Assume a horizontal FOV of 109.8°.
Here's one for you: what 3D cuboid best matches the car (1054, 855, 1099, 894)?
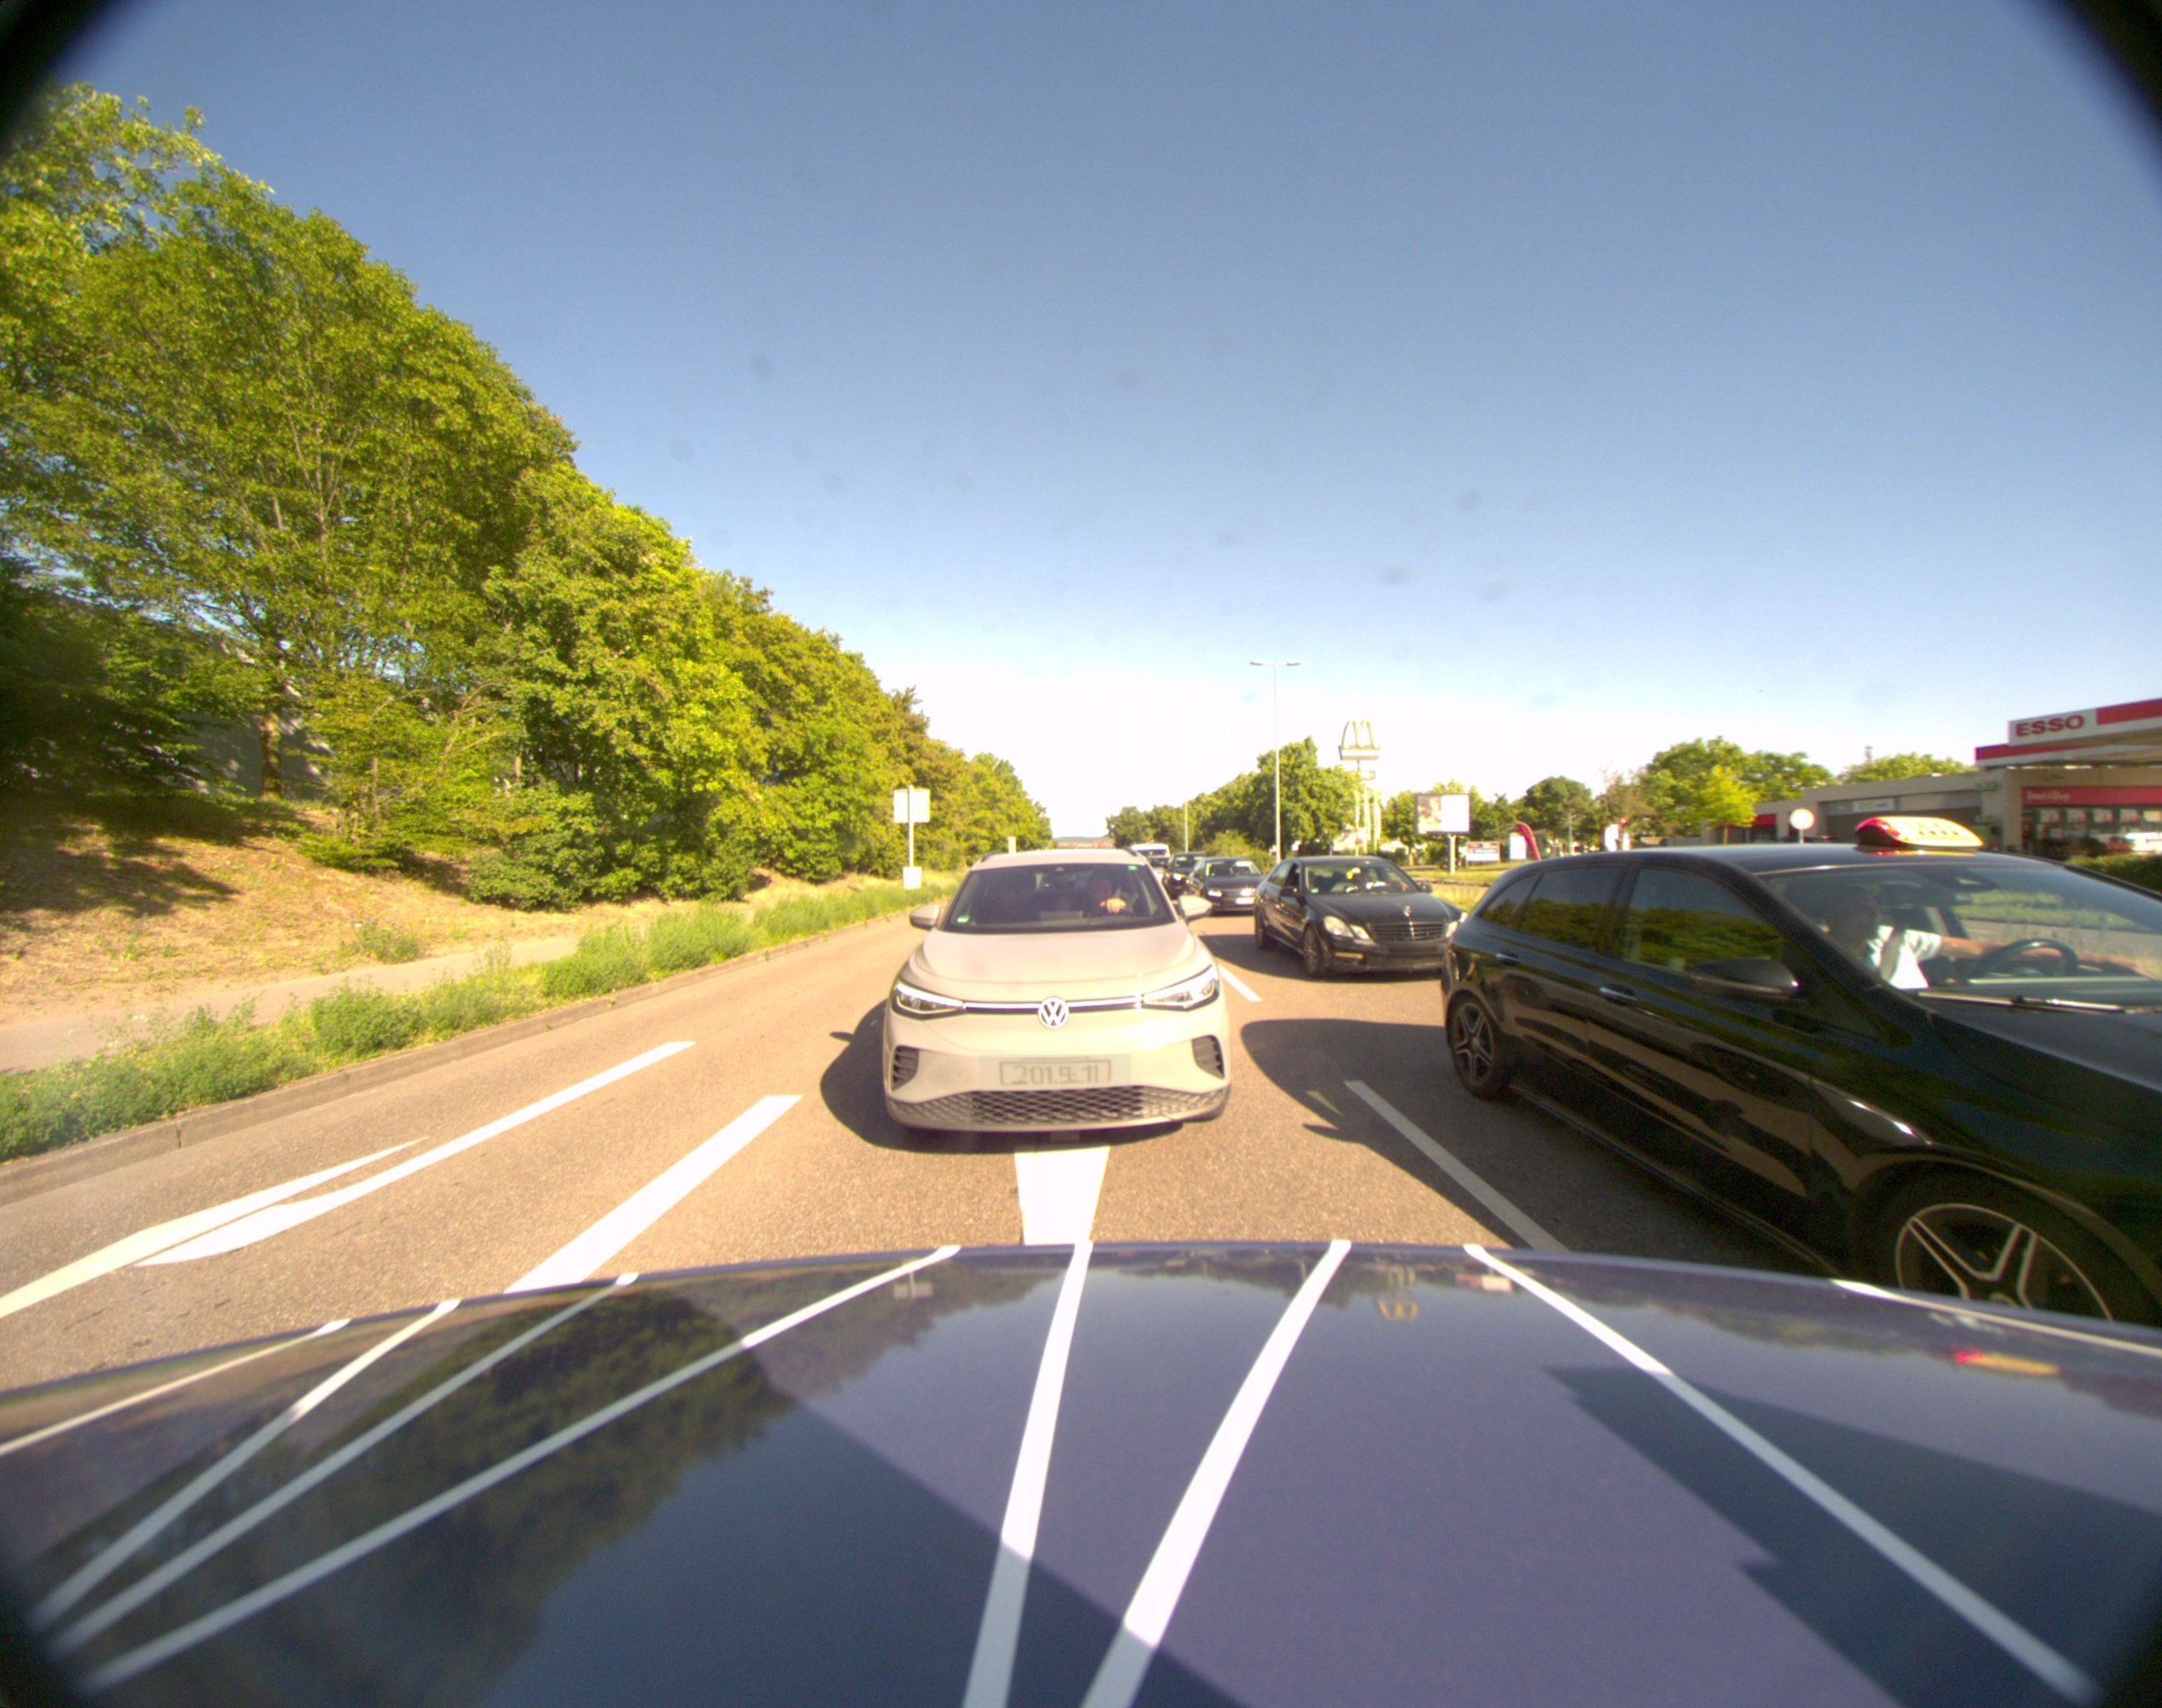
[{"bbox_3d":[-0.188,0.838,33.030,1.763,1.482,4.402,-2,1,0],"label":"car"}]

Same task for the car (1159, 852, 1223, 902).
[{"bbox_3d":[3.905,0.759,27.455,1.674,1.607,3.879,-2,0,0],"label":"car"}]

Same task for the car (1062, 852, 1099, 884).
[{"bbox_3d":[-0.042,0.714,39.871,1.763,1.482,4.402,-2,1,0],"label":"car"}]

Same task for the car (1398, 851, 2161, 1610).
[{"bbox_3d":[3.091,0.779,3.021,1.763,1.482,4.402,-2,1,0],"label":"car"}]

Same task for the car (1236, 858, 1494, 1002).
[{"bbox_3d":[3.555,0.839,10.500,1.868,1.430,4.402,-2,1,0],"label":"car"}]

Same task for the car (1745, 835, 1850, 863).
[{"bbox_3d":[37.454,-0.266,39.843,1.682,1.401,3.978,1,1,0],"label":"car"}]

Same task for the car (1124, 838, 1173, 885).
[{"bbox_3d":[3.653,0.387,42.119,2.019,2.349,6.523,-2,0,0],"label":"car"}]

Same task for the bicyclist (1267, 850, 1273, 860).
[{"bbox_3d":[25.650,0.117,103.053,0.629,1.281,0.700,-2,1,1],"label":"bicyclist"}]

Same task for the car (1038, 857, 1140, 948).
[{"bbox_3d":[0.136,0.874,15.775,1.763,1.482,4.402,-2,1,0],"label":"car"}]

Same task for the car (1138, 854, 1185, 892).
[{"bbox_3d":[3.574,0.794,34.159,1.635,1.547,3.777,-2,0,0],"label":"car"}]

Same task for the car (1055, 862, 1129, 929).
[{"bbox_3d":[0.266,1.041,20.943,1.763,1.482,4.402,-2,1,0],"label":"car"}]

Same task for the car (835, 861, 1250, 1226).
[{"bbox_3d":[-0.181,0.901,5.723,1.862,1.573,4.403,-2,0,0],"label":"car"}]

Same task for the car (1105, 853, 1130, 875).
[{"bbox_3d":[2.932,0.818,62.131,1.763,1.607,4.402,-2,1,0],"label":"car"}]

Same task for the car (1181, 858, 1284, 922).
[{"bbox_3d":[3.885,0.863,20.200,1.797,1.419,4.287,-2,0,0],"label":"car"}]

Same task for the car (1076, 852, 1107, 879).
[{"bbox_3d":[0.604,0.692,47.038,1.763,1.482,4.402,-2,1,0],"label":"car"}]
